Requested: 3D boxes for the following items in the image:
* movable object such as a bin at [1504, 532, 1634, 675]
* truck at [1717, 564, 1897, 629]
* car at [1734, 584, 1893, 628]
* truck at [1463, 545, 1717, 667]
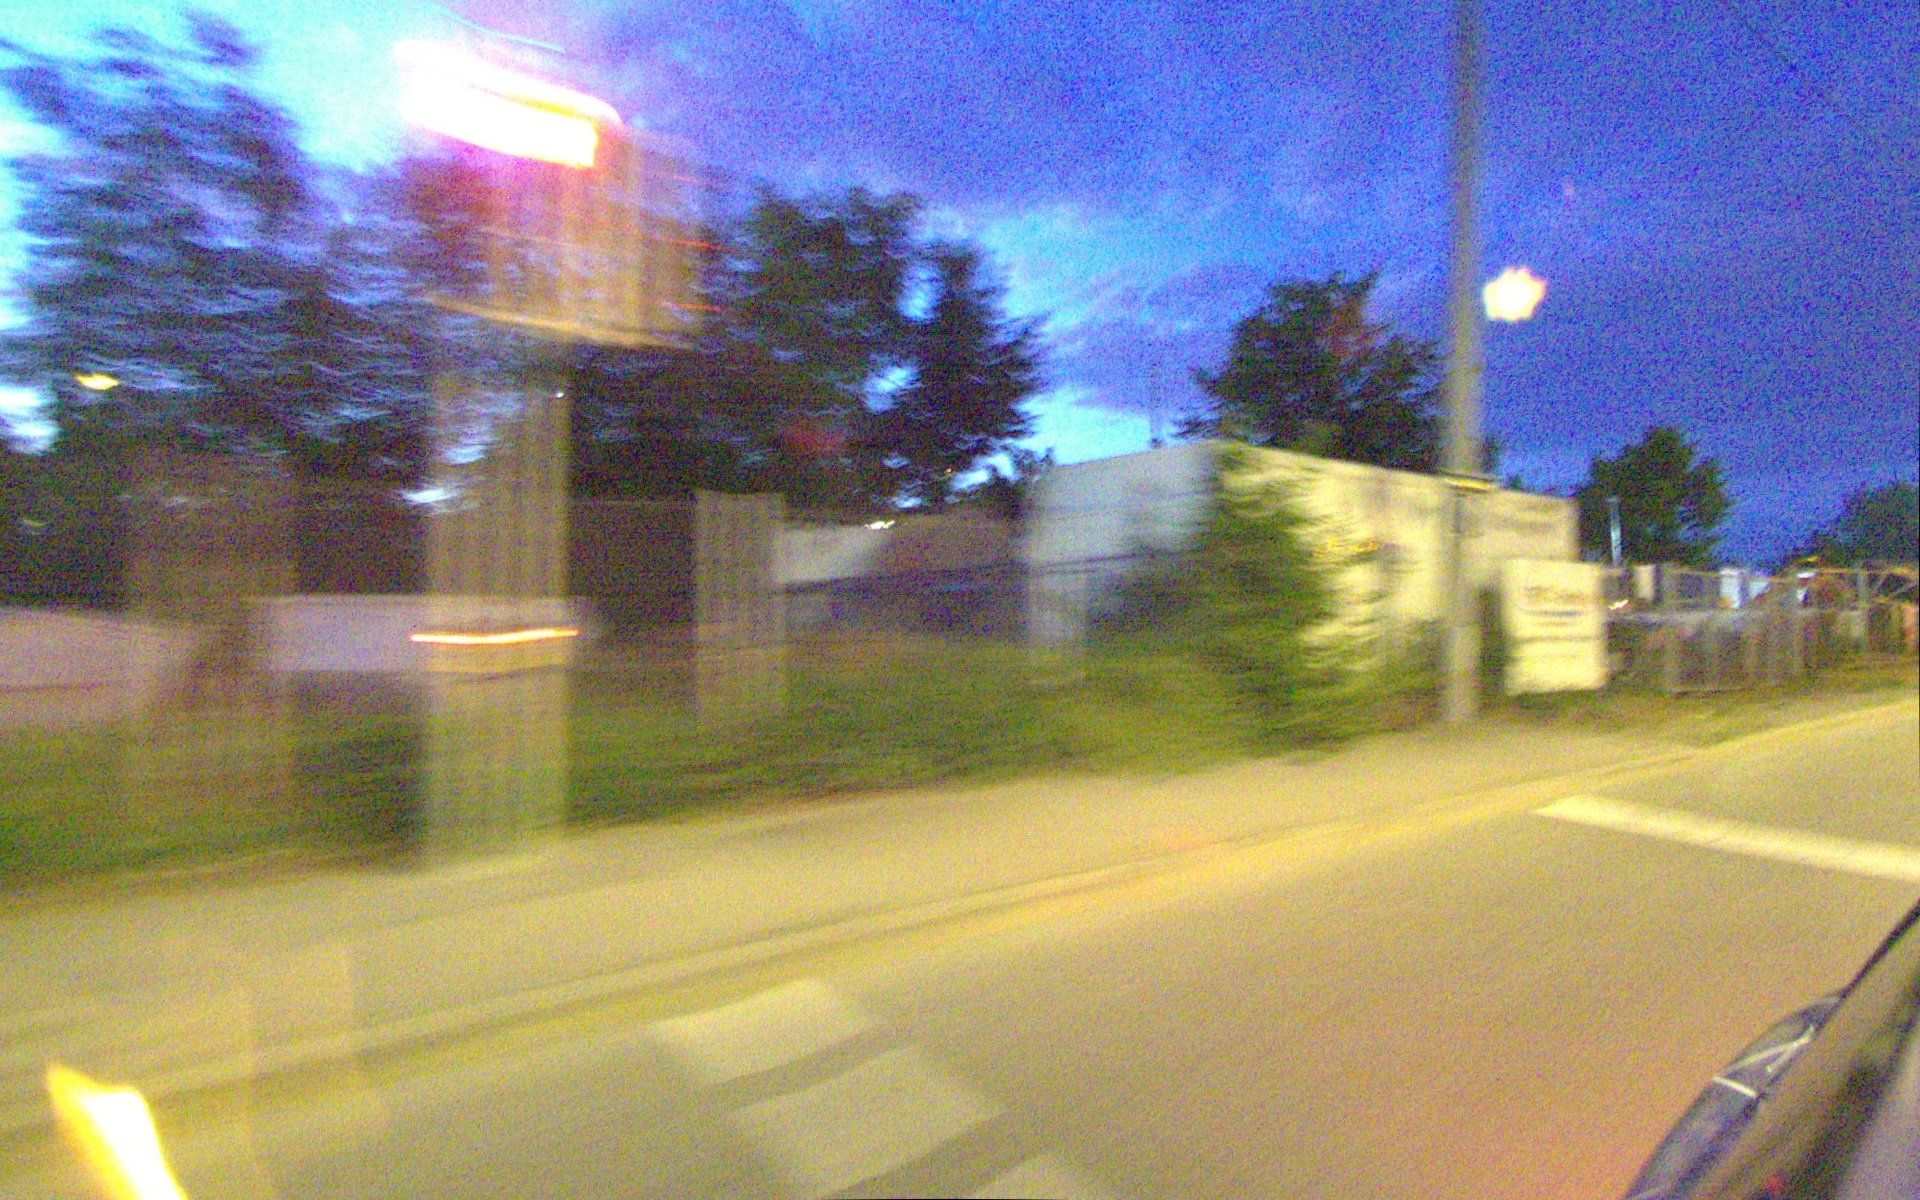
[{"bbox_3d":[10.989,0.076,18.252,1.679,2.414,1.591,-2,-2,43],"label":"movable object such as a bin"},{"bbox_3d":[36.490,-0.122,43.757,2.426,2.633,5.546,0,-1,-36],"label":"truck"},{"bbox_3d":[38.260,0.255,45.514,1.950,1.859,5.092,0,0,-32],"label":"car"},{"bbox_3d":[14.609,0.138,23.258,7.174,2.454,2.190,0,-1,-34],"label":"truck"}]
